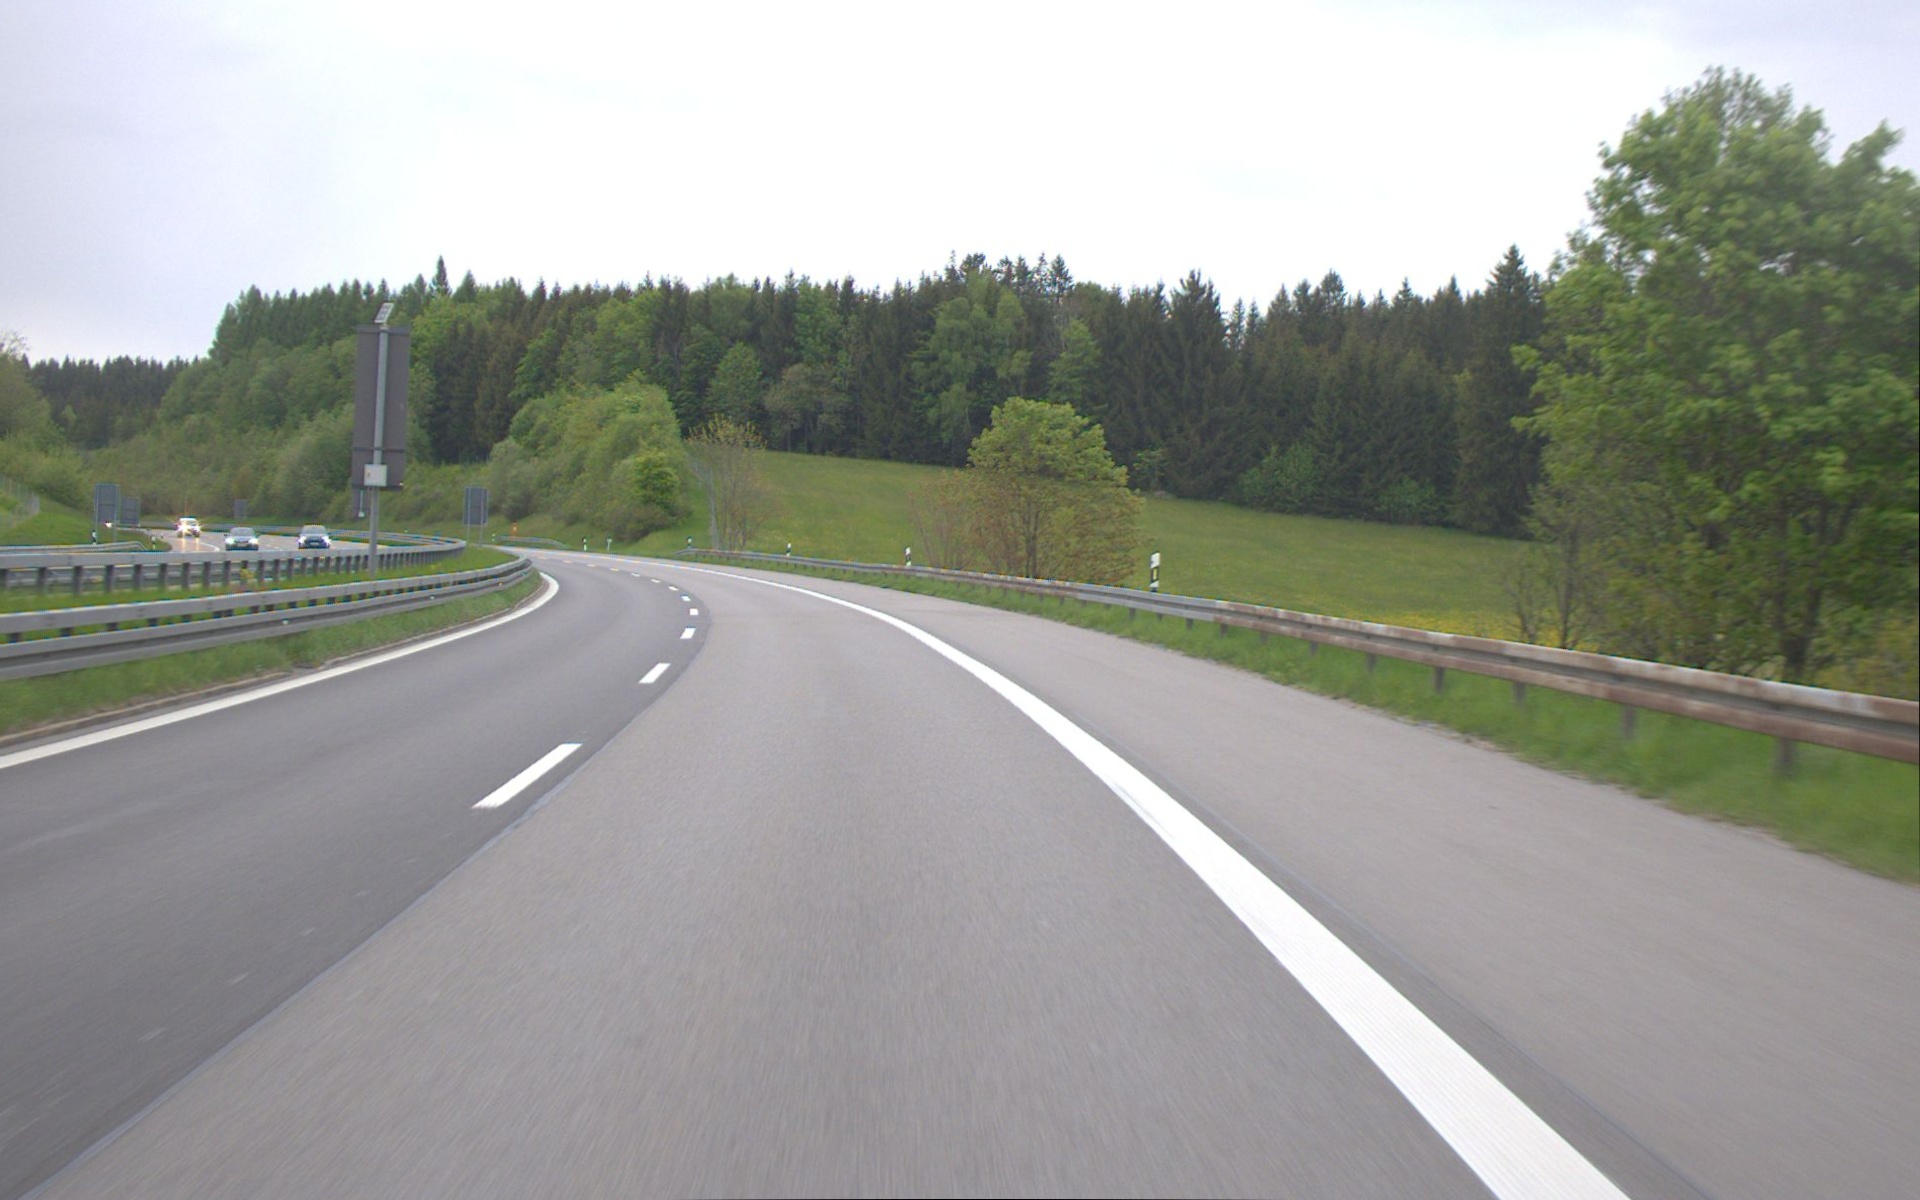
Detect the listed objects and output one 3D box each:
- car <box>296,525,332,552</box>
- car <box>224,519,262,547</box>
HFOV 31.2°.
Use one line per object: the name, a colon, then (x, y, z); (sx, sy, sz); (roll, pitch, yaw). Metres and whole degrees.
car: (-38.092, -3.636, 202.809); (1.993, 1.412, 4.001); (3, 1, -11)
car: (-41.321, -3.851, 198.211); (1.993, 1.435, 5.001); (3, 1, -11)
